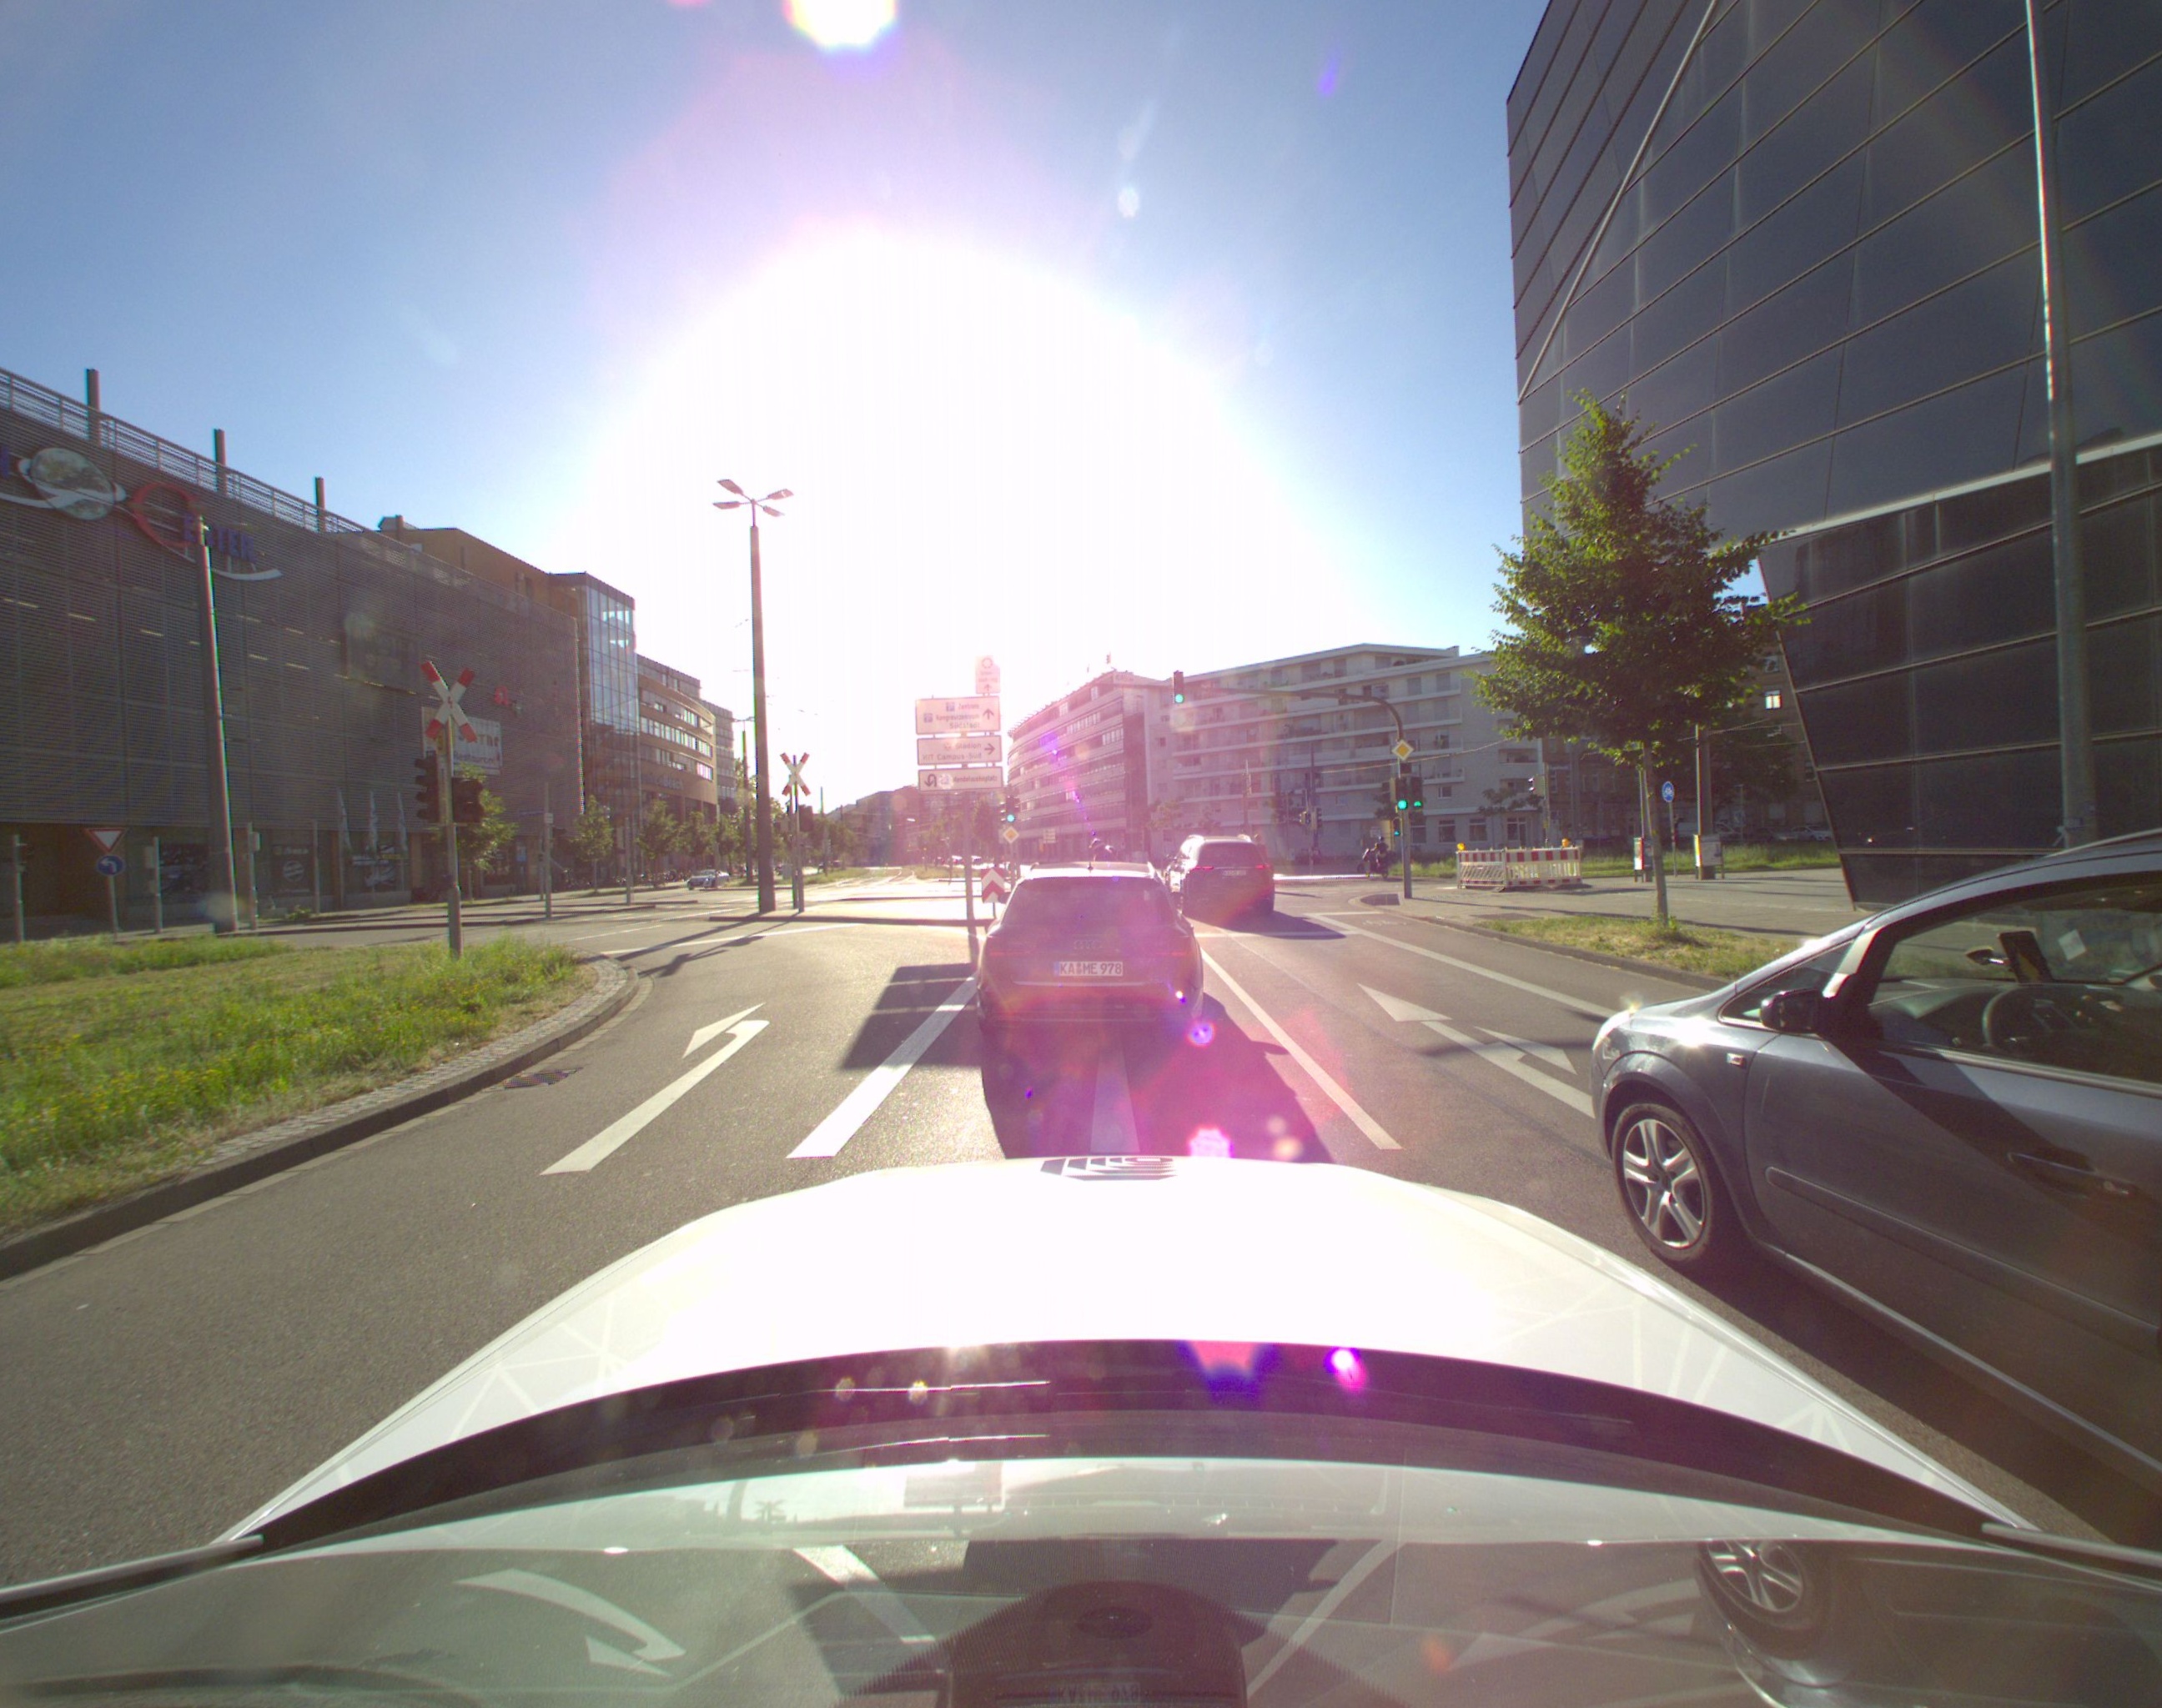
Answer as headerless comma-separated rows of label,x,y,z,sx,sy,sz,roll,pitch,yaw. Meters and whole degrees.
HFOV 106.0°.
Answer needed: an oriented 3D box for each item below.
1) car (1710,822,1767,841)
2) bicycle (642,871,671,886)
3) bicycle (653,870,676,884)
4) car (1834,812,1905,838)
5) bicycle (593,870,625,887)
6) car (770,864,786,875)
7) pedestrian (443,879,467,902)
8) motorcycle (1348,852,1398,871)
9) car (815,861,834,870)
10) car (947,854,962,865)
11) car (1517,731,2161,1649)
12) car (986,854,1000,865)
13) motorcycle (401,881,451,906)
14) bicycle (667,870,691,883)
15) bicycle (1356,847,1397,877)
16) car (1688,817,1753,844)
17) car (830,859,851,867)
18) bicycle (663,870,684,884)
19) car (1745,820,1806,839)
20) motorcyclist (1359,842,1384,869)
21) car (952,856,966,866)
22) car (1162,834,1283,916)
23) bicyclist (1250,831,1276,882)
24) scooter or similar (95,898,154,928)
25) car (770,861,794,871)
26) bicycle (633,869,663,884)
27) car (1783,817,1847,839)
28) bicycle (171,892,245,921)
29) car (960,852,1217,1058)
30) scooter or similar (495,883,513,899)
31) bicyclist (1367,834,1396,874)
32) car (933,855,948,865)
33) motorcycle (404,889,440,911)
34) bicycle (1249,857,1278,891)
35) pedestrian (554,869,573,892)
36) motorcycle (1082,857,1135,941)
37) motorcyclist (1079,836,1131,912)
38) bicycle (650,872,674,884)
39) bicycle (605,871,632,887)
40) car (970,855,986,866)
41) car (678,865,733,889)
car,54.128,-1.830,67.154,1.981,1.354,4.012,-3,-1,11
bicycle,-43.866,2.532,84.084,2.546,1.433,0.907,-3,-1,10
bicycle,-47.479,2.607,92.882,2.231,1.433,0.720,-3,-1,10
car,61.065,-2.202,63.152,1.981,1.772,4.012,-3,-1,11
bicycle,-43.944,2.284,75.867,2.355,1.433,1.079,-3,-1,10
car,-42.975,2.135,115.504,1.902,1.407,3.970,-3,1,-22
pedestrian,-44.317,2.606,57.656,0.984,1.566,0.829,-3,-1,1
motorcycle,16.705,0.409,46.646,2.446,1.000,1.171,-2,0,-2
car,-50.434,2.226,160.167,1.984,1.640,4.419,-2,0,6
car,-22.648,1.014,145.688,1.998,1.706,3.977,-3,-1,-17
car,2.872,0.622,1.710,1.739,1.696,4.262,0,0,1
car,-16.033,1.090,148.926,1.996,1.838,3.981,-3,-1,-14
motorcycle,-42.959,2.563,53.419,0.962,1.446,2.619,-2,0,5
bicycle,-47.386,2.631,95.992,2.405,1.433,0.791,-3,-1,10
bicycle,12.968,0.331,35.811,0.766,1.262,2.075,-2,0,-9
car,58.952,-2.140,75.181,4.543,2.310,2.013,-2,0,37
car,-52.171,1.989,176.512,1.976,1.640,4.435,-2,0,21
bicycle,-47.528,2.671,94.921,2.125,1.433,0.761,-3,-1,10
car,56.335,-1.982,66.164,1.981,1.354,4.012,-3,-1,11
motorcyclist,16.644,0.063,46.644,0.922,1.481,1.171,-2,0,-2
car,-20.920,1.256,139.733,1.996,1.596,3.981,-3,-1,-14
car,3.193,0.420,19.313,1.997,1.715,4.369,0,0,-2
bicyclist,6.026,0.086,27.034,0.651,1.642,0.973,-2,0,5
scooter or similar,-43.768,2.686,37.288,0.790,1.207,1.575,-3,-1,2
car,-59.186,2.337,161.313,4.023,1.706,1.975,-2,-1,-44
bicycle,-43.537,2.254,81.829,2.546,1.433,0.907,-3,-1,10
car,58.452,-2.021,64.958,1.981,1.486,4.012,-3,-1,11
bicycle,-41.882,2.491,39.119,0.796,1.220,2.418,-2,0,5
car,0.102,0.725,7.873,1.835,1.454,4.001,0,0,1
scooter or similar,-43.009,2.738,60.716,0.419,1.110,1.153,-3,-1,2
bicyclist,13.037,-0.004,35.307,0.766,1.706,0.927,-2,0,-9
car,-25.056,1.124,145.165,1.998,1.706,3.977,-3,-1,-17
motorcycle,-41.832,2.908,51.704,0.673,1.238,1.894,-3,-1,1
bicycle,6.027,0.651,27.031,0.651,1.043,1.932,-2,1,5
pedestrian,-42.436,2.189,66.770,0.823,1.824,0.905,-3,-1,3
motorcycle,0.496,0.769,14.795,0.859,1.393,1.894,-2,0,2
motorcyclist,0.435,0.355,14.734,0.859,1.326,0.681,-2,0,1
bicycle,-47.355,2.672,92.028,2.399,1.236,0.747,-3,-1,10
bicycle,-43.734,2.379,76.985,2.070,1.433,0.863,-3,-1,10
car,-17.362,1.105,137.249,1.999,1.596,3.976,-3,-1,-17
car,-27.856,1.707,60.546,1.988,1.545,4.527,-2,0,-1
